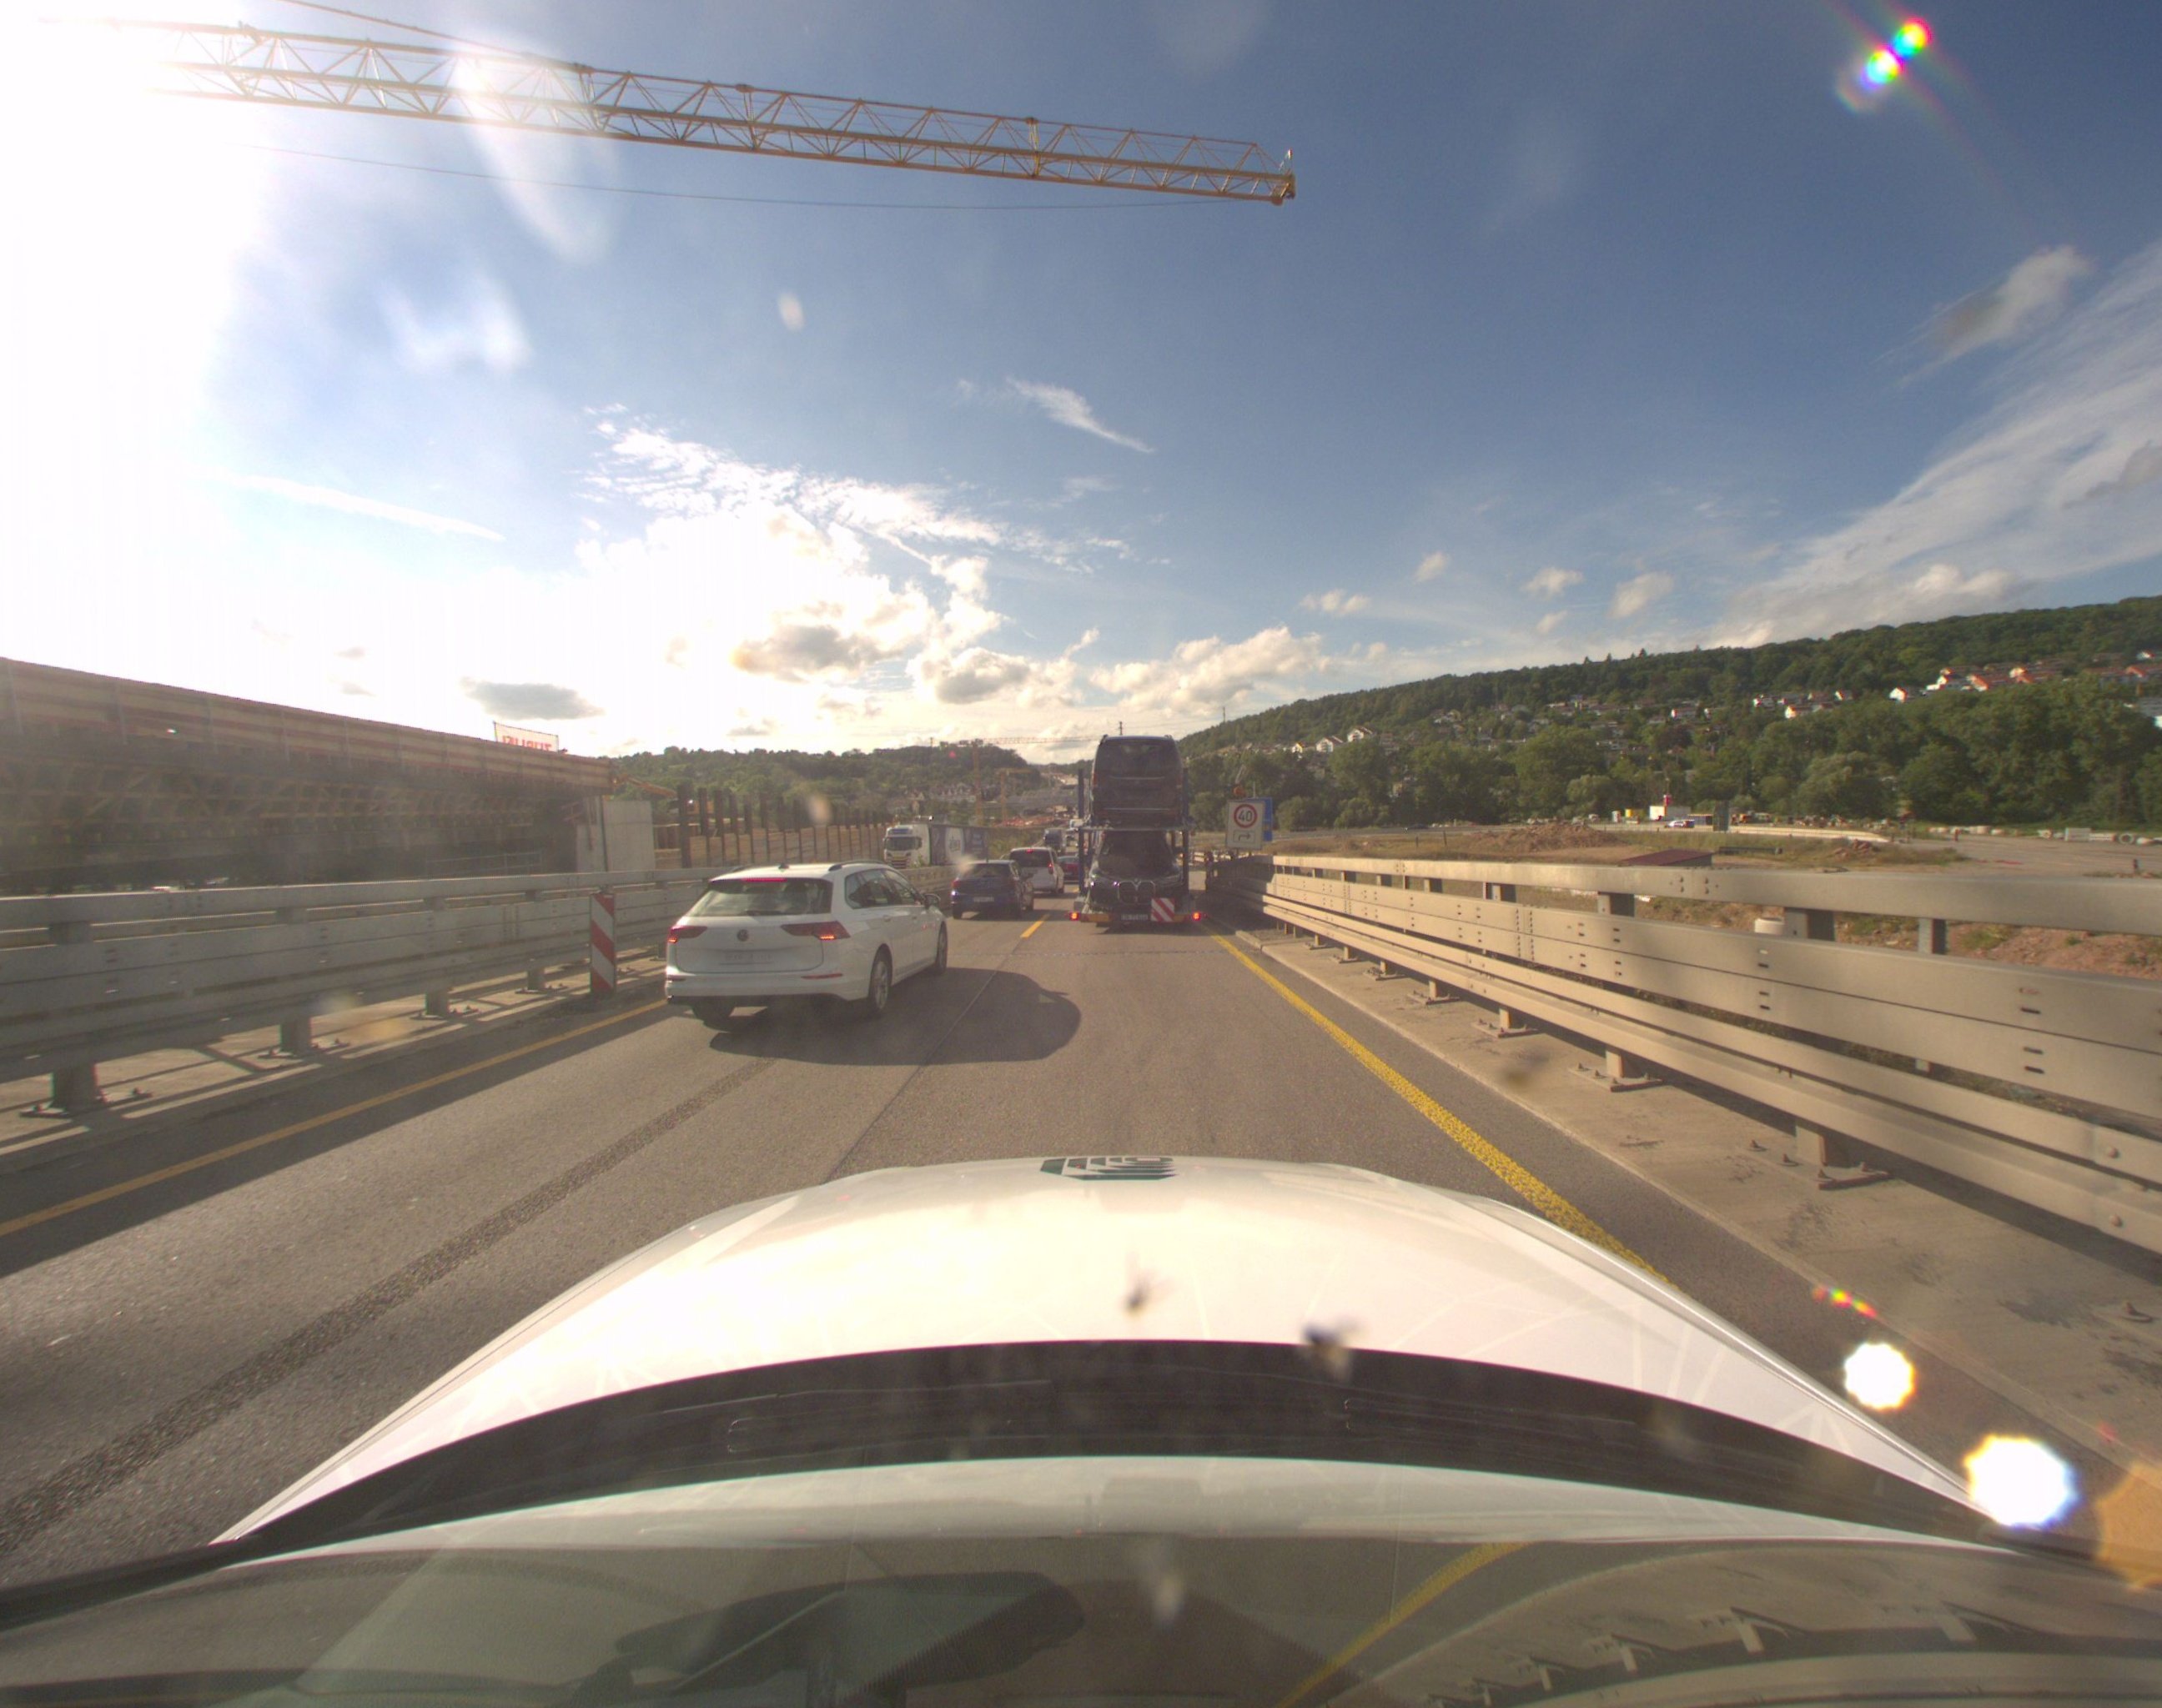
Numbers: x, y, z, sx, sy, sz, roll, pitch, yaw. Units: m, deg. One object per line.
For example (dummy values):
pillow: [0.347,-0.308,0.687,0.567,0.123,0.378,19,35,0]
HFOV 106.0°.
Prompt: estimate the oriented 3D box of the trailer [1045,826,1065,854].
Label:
trailer: [-4.123,-2.098,127.620,2.814,3.841,13.790,-1,-1,-2]

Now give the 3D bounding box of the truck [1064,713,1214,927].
truck: [1.365,-0.527,24.482,2.743,3.955,18.895,0,-1,2]

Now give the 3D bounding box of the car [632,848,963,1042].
car: [-2.609,0.744,8.798,1.763,1.491,4.519,-2,0,3]

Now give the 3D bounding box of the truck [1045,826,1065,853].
truck: [-3.902,-2.160,121.335,2.770,3.788,6.012,-1,-1,-3]

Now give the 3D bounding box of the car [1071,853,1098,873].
car: [0.315,0.750,67.095,1.985,1.552,4.004,-1,-1,4]

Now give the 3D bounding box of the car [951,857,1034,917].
car: [-2.196,0.806,21.230,1.716,1.422,3.999,0,-1,0]

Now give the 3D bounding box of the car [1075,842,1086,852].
car: [-0.038,-1.250,148.801,1.987,1.726,4.123,-1,-1,1]

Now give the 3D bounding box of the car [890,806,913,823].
car: [-27.846,-6.046,126.240,1.986,2.140,5.323,-6,-1,2]

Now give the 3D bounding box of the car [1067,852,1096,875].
car: [0.081,0.654,58.252,1.986,1.552,4.000,-1,-1,1]

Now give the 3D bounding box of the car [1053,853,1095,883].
car: [-0.340,0.753,44.284,1.985,1.556,4.405,-1,-1,3]

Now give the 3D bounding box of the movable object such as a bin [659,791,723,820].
movable object such as a bin: [-49.665,-6.082,103.758,5.705,3.270,4.527,-1,-1,14]

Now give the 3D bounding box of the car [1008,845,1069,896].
car: [-1.542,0.602,30.652,1.815,1.792,4.004,-1,-1,3]

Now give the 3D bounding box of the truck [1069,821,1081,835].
truck: [-1.559,-6.690,211.936,2.690,3.311,7.541,-1,-1,3]

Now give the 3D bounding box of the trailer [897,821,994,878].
trailer: [-10.707,-0.293,66.567,2.669,4.156,13.859,-1,-1,13]

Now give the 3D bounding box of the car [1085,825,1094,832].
car: [2.211,-6.673,214.085,2.118,1.673,4.275,-2,3,1]

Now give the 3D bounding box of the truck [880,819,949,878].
truck: [-12.196,-0.351,60.116,2.692,4.137,5.992,-1,-1,13]
